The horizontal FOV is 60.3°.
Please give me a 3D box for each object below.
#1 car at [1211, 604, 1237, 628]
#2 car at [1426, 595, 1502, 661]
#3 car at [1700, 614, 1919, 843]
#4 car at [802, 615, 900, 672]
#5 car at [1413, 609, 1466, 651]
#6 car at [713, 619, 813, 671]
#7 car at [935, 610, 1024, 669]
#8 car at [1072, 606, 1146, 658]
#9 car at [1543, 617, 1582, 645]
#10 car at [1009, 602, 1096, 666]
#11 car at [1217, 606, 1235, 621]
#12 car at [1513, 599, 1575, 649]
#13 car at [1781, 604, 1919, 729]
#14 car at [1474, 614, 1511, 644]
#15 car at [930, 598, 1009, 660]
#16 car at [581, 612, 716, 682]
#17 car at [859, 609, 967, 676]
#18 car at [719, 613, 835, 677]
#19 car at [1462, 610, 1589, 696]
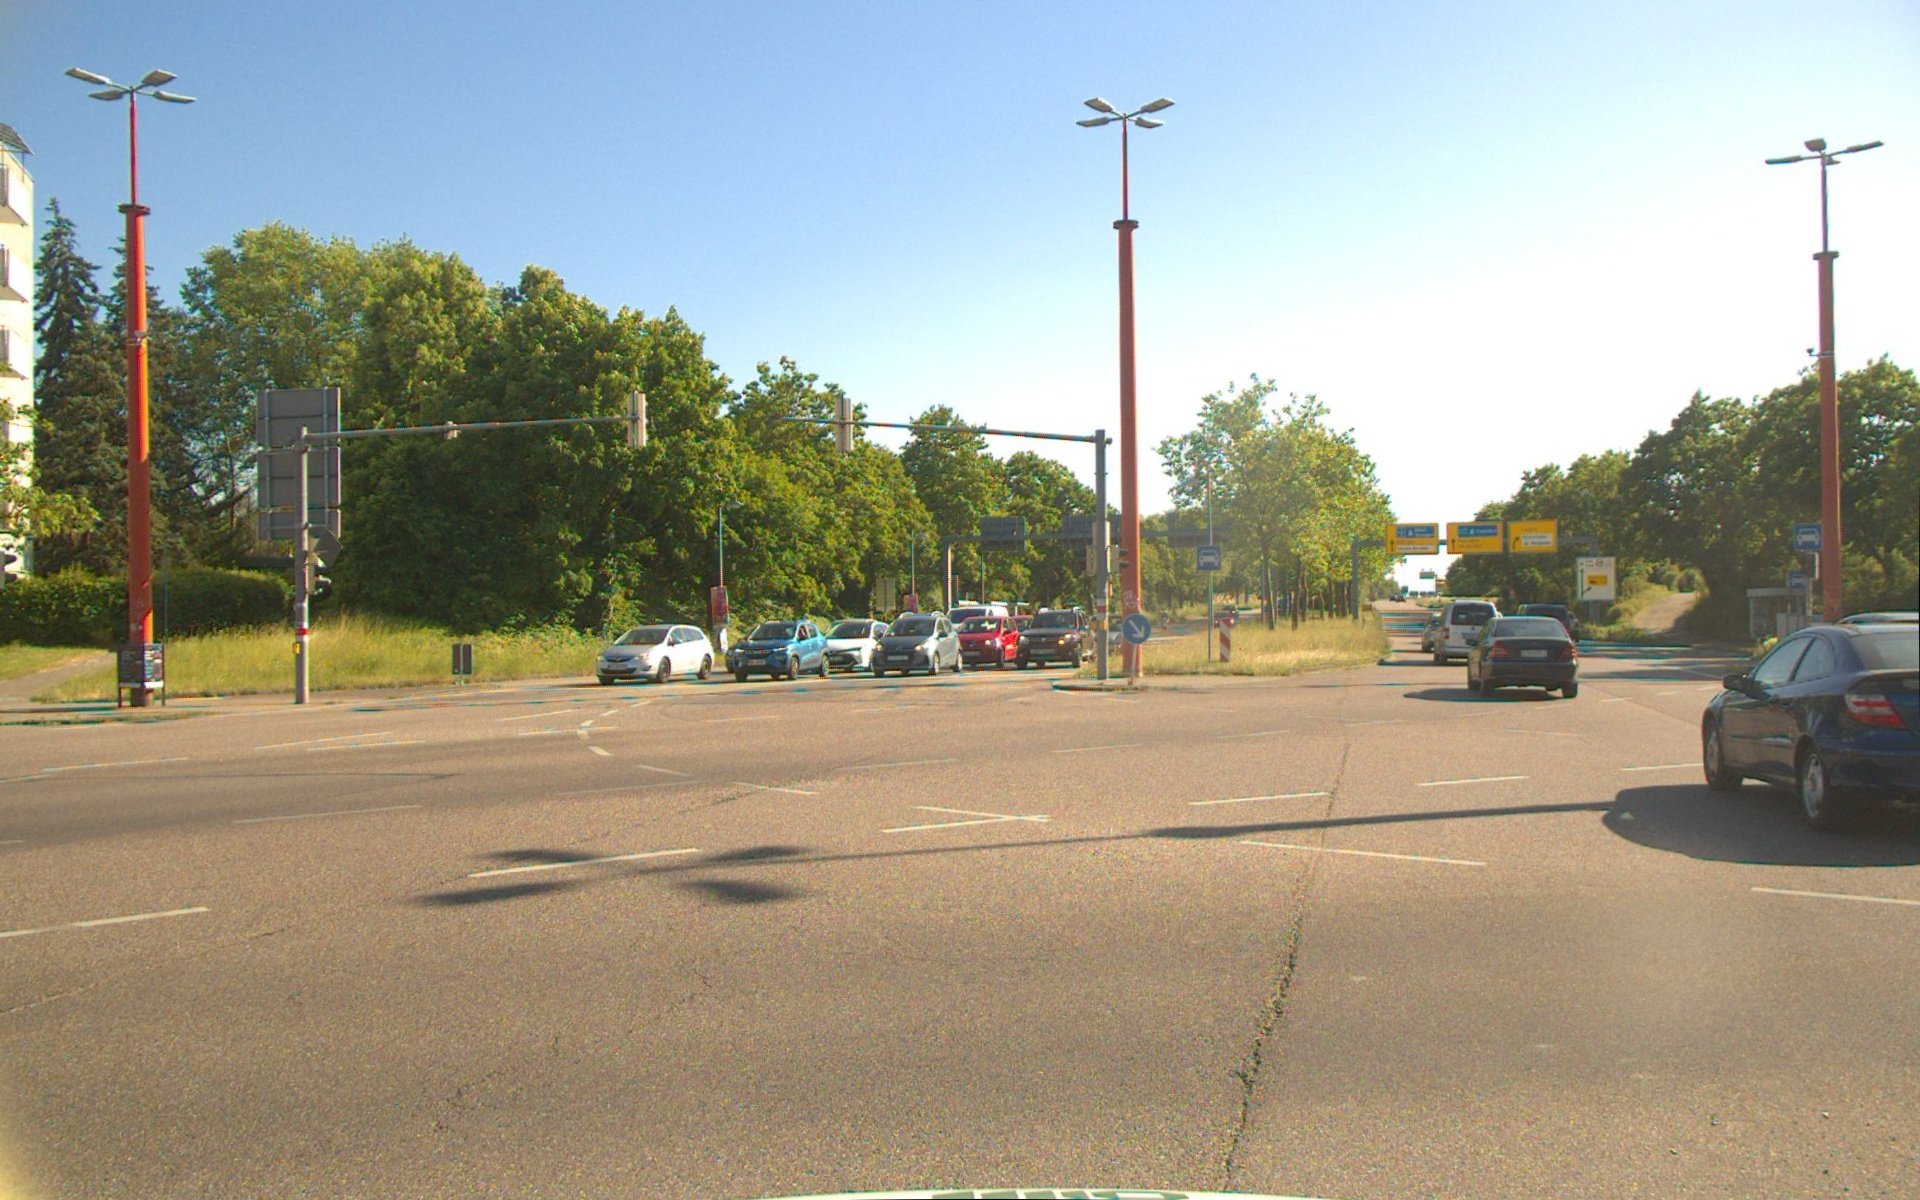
[{"bbox_3d":[21.054,1.261,132.150,1.874,1.878,3.964,-1,0,7],"label":"car"},{"bbox_3d":[15.018,0.827,49.492,1.766,1.853,4.590,0,-1,12],"label":"car"},{"bbox_3d":[6.886,0.833,12.381,1.682,1.445,4.053,0,-1,13],"label":"car"},{"bbox_3d":[-3.164,1.249,48.737,1.860,1.582,4.003,-2,-1,11],"label":"car"},{"bbox_3d":[18.451,1.150,63.780,1.766,1.519,4.685,1,-1,14],"label":"car"},{"bbox_3d":[-6.214,1.412,52.529,1.845,1.539,4.003,-2,-1,14],"label":"car"},{"bbox_3d":[0.637,1.167,49.223,1.835,1.579,4.003,-4,-1,11],"label":"car"},{"bbox_3d":[4.868,1.002,53.590,1.845,1.570,4.003,-2,-1,13],"label":"car"},{"bbox_3d":[33.419,1.699,91.815,1.560,1.517,3.684,1,-1,13],"label":"car"},{"bbox_3d":[2.643,0.931,46.426,1.755,1.655,4.147,-2,-1,12],"label":"car"},{"bbox_3d":[33.172,1.673,206.087,1.874,1.878,3.964,-1,0,13],"label":"car"},{"bbox_3d":[23.089,0.951,65.559,1.766,1.884,5.107,-1,-1,14],"label":"car"},{"bbox_3d":[12.515,0.854,22.248,1.730,1.534,4.229,1,-1,14],"label":"car"},{"bbox_3d":[30.367,1.649,94.336,1.679,1.636,3.850,1,-1,13],"label":"car"},{"bbox_3d":[0.406,1.066,61.833,1.919,2.193,5.085,-1,-1,12],"label":"car"},{"bbox_3d":[-8.083,1.208,43.288,1.837,1.681,4.222,-2,-1,14],"label":"car"},{"bbox_3d":[-1.160,1.066,43.132,1.834,1.578,4.031,-2,-1,13],"label":"car"},{"bbox_3d":[-4.675,1.133,42.771,1.763,1.542,3.862,-2,-1,13],"label":"car"},{"bbox_3d":[10.481,0.932,30.907,1.676,1.479,4.201,-1,0,11],"label":"car"}]
